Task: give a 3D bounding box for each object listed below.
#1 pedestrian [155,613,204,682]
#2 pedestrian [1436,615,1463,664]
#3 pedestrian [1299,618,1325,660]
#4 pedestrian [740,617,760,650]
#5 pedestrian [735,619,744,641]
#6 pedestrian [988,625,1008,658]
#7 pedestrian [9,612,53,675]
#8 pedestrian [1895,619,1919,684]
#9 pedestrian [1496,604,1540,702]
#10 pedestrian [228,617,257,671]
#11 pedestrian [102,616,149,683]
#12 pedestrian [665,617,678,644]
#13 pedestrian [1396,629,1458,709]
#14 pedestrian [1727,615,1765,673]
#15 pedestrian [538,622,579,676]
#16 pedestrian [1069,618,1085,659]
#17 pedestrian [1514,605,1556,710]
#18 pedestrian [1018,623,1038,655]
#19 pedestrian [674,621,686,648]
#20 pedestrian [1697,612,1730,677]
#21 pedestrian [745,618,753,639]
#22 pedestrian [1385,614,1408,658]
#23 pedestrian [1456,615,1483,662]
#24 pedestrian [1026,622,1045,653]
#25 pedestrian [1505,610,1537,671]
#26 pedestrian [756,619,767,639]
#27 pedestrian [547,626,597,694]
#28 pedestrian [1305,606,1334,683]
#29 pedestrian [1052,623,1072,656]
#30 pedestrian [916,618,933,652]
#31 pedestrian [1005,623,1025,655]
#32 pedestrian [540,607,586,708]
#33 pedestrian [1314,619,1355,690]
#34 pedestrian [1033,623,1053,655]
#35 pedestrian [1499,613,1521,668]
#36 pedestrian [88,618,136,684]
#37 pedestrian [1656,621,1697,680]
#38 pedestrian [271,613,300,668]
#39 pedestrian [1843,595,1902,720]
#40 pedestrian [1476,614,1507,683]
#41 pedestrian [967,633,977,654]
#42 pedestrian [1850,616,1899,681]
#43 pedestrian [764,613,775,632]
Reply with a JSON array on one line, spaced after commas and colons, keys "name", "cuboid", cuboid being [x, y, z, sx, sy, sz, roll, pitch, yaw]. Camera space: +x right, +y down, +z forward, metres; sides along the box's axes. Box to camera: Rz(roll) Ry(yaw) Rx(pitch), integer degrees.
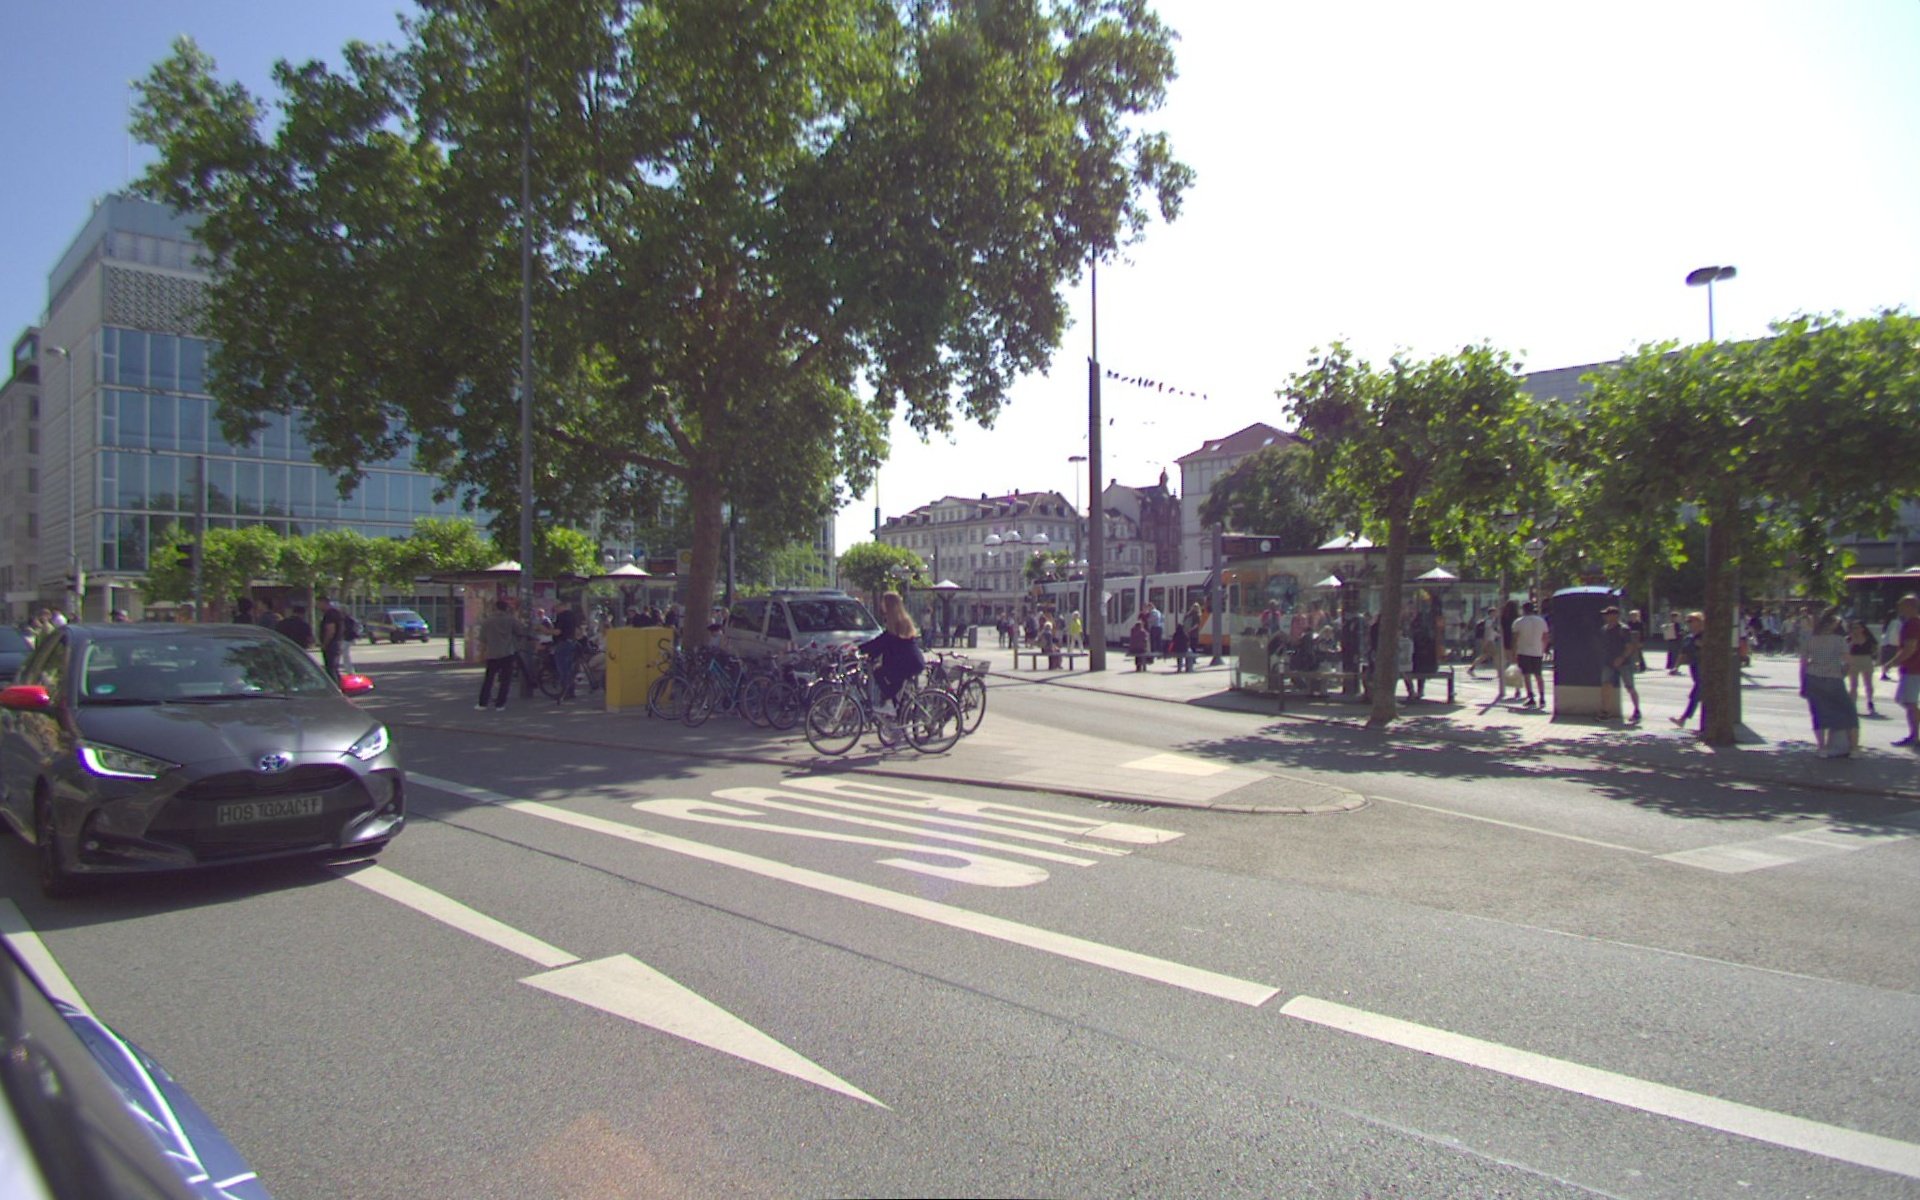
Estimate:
[{"name": "pedestrian", "cuboid": [-20.597, 1.240, 26.710, 0.882, 1.760, 0.715, -1, 0, 30]}, {"name": "pedestrian", "cuboid": [16.043, 1.300, 33.207, 0.674, 1.561, 0.575, -1, -4, 17]}, {"name": "pedestrian", "cuboid": [13.200, 1.467, 37.949, 0.568, 1.561, 0.683, 2, -4, -23]}, {"name": "pedestrian", "cuboid": [-11.565, 1.837, 55.760, 0.780, 1.760, 0.744, -1, 0, 30]}, {"name": "pedestrian", "cuboid": [-14.956, 2.038, 68.567, 0.546, 1.483, 0.760, -2, 0, -13]}, {"name": "pedestrian", "cuboid": [1.760, 1.907, 47.066, 0.555, 1.483, 0.748, -1, 0, 40]}, {"name": "pedestrian", "cuboid": [-26.677, 1.227, 29.075, 0.720, 1.760, 0.642, -2, 0, -25]}, {"name": "pedestrian", "cuboid": [21.872, 1.183, 23.282, 0.414, 1.477, 0.401, -2, -4, 33]}, {"name": "pedestrian", "cuboid": [10.596, 1.008, 19.217, 0.605, 1.830, 0.570, -2, -5, 40]}, {"name": "pedestrian", "cuboid": [-22.712, 1.382, 32.034, 0.721, 1.682, 0.641, -2, 0, -36]}, {"name": "pedestrian", "cuboid": [-22.689, 1.324, 27.507, 0.730, 1.760, 0.744, -1, 0, 30]}, {"name": "pedestrian", "cuboid": [-14.970, 1.577, 52.560, 0.437, 1.394, 0.458, -1, 0, 39]}, {"name": "pedestrian", "cuboid": [8.354, 1.234, 18.128, 0.670, 1.381, 0.804, 1, -4, -3]}, {"name": "pedestrian", "cuboid": [20.336, 1.137, 26.195, 0.549, 1.477, 0.621, -1, -4, 18]}, {"name": "pedestrian", "cuboid": [-9.683, 1.180, 24.430, 0.611, 1.251, 0.667, -1, 0, 23]}, {"name": "pedestrian", "cuboid": [4.336, 1.418, 37.455, 0.395, 1.483, 0.405, -2, 0, -42]}, {"name": "pedestrian", "cuboid": [9.779, 0.977, 17.213, 0.508, 1.732, 0.476, -3, -5, 40]}, {"name": "pedestrian", "cuboid": [3.210, 1.851, 47.862, 0.555, 1.483, 0.748, -1, 0, 40]}, {"name": "pedestrian", "cuboid": [-15.679, 1.927, 56.614, 0.410, 1.483, 0.459, -1, 0, 38]}, {"name": "pedestrian", "cuboid": [19.728, 1.172, 26.511, 0.518, 1.678, 0.469, -1, -4, 18]}, {"name": "pedestrian", "cuboid": [-14.990, 2.015, 71.937, 0.546, 1.483, 0.760, -2, 0, -13]}, {"name": "pedestrian", "cuboid": [15.519, 1.292, 35.991, 0.674, 1.561, 0.575, -1, -4, 17]}, {"name": "pedestrian", "cuboid": [16.857, 1.275, 33.505, 0.674, 1.561, 0.575, -1, -4, 17]}, {"name": "pedestrian", "cuboid": [3.648, 1.809, 49.108, 0.555, 1.483, 0.748, -1, 0, 40]}, {"name": "pedestrian", "cuboid": [16.728, 1.218, 30.196, 0.675, 1.809, 0.621, -1, -4, 18]}, {"name": "pedestrian", "cuboid": [-15.703, 2.295, 79.962, 0.745, 1.483, 0.557, -2, 0, -22]}, {"name": "pedestrian", "cuboid": [-8.478, 1.302, 22.128, 0.671, 1.435, 0.744, -1, 0, 30]}, {"name": "pedestrian", "cuboid": [8.471, 1.057, 23.828, 0.485, 1.791, 0.519, -2, -5, 39]}, {"name": "pedestrian", "cuboid": [4.739, 1.804, 46.922, 0.555, 1.483, 0.748, -1, 0, 40]}, {"name": "pedestrian", "cuboid": [-1.625, 1.589, 46.150, 0.547, 1.483, 0.532, -2, 0, -42]}, {"name": "pedestrian", "cuboid": [2.624, 1.847, 48.368, 0.555, 1.483, 0.748, -1, 0, 40]}, {"name": "pedestrian", "cuboid": [-7.087, 1.009, 18.089, 0.516, 1.755, 0.511, -1, 0, 27]}, {"name": "pedestrian", "cuboid": [7.936, 1.159, 21.443, 0.580, 1.477, 0.557, 2, -4, -29]}, {"name": "pedestrian", "cuboid": [3.918, 1.820, 47.706, 0.555, 1.483, 0.748, -1, 0, 40]}, {"name": "pedestrian", "cuboid": [17.292, 1.276, 31.832, 0.462, 1.731, 0.555, -1, -4, 18]}, {"name": "pedestrian", "cuboid": [-23.485, 1.400, 28.030, 0.732, 1.760, 0.866, -1, 0, 39]}, {"name": "pedestrian", "cuboid": [18.878, 1.328, 26.671, 0.675, 1.513, 0.621, -1, -4, 18]}, {"name": "pedestrian", "cuboid": [-21.842, 1.300, 32.784, 0.721, 1.760, 0.641, -2, 0, -36]}, {"name": "pedestrian", "cuboid": [15.094, 0.932, 16.750, 0.563, 2.023, 0.686, -1, -1, 31]}, {"name": "pedestrian", "cuboid": [13.734, 1.249, 26.166, 0.584, 1.744, 0.557, -1, -4, 18]}, {"name": "pedestrian", "cuboid": [0.556, 1.979, 46.234, 0.333, 0.970, 0.328, -1, 0, 21]}, {"name": "pedestrian", "cuboid": [21.333, 1.128, 23.613, 0.621, 1.477, 0.675, -1, -4, 25]}, {"name": "pedestrian", "cuboid": [-15.833, 1.875, 83.978, 0.745, 1.483, 0.557, -2, 0, -22]}]
